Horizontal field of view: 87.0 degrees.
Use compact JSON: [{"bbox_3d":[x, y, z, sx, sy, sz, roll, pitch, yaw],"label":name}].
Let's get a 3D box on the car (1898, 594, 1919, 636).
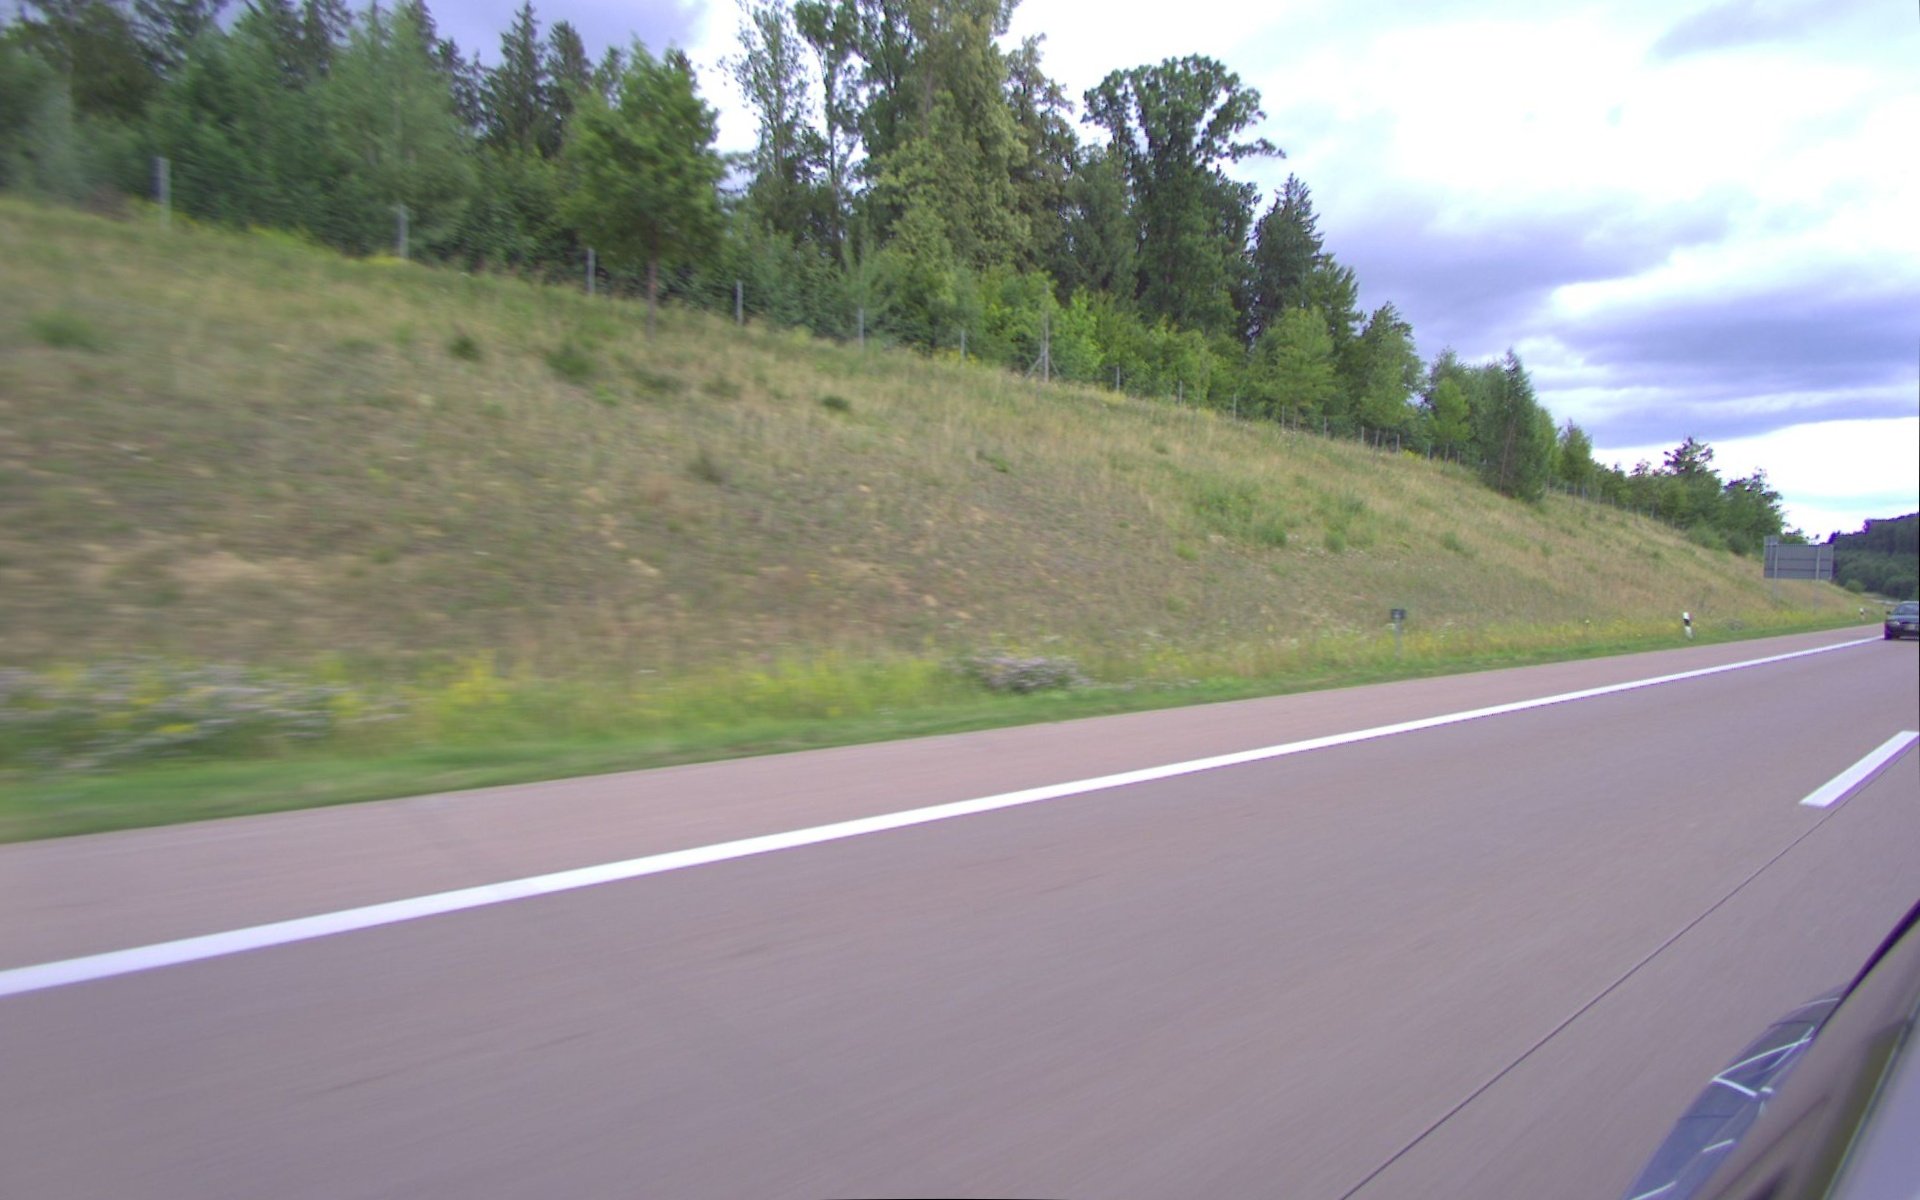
[{"bbox_3d":[35.756,0.546,37.145,4.163,1.420,1.673,-1,2,-43],"label":"car"}]
